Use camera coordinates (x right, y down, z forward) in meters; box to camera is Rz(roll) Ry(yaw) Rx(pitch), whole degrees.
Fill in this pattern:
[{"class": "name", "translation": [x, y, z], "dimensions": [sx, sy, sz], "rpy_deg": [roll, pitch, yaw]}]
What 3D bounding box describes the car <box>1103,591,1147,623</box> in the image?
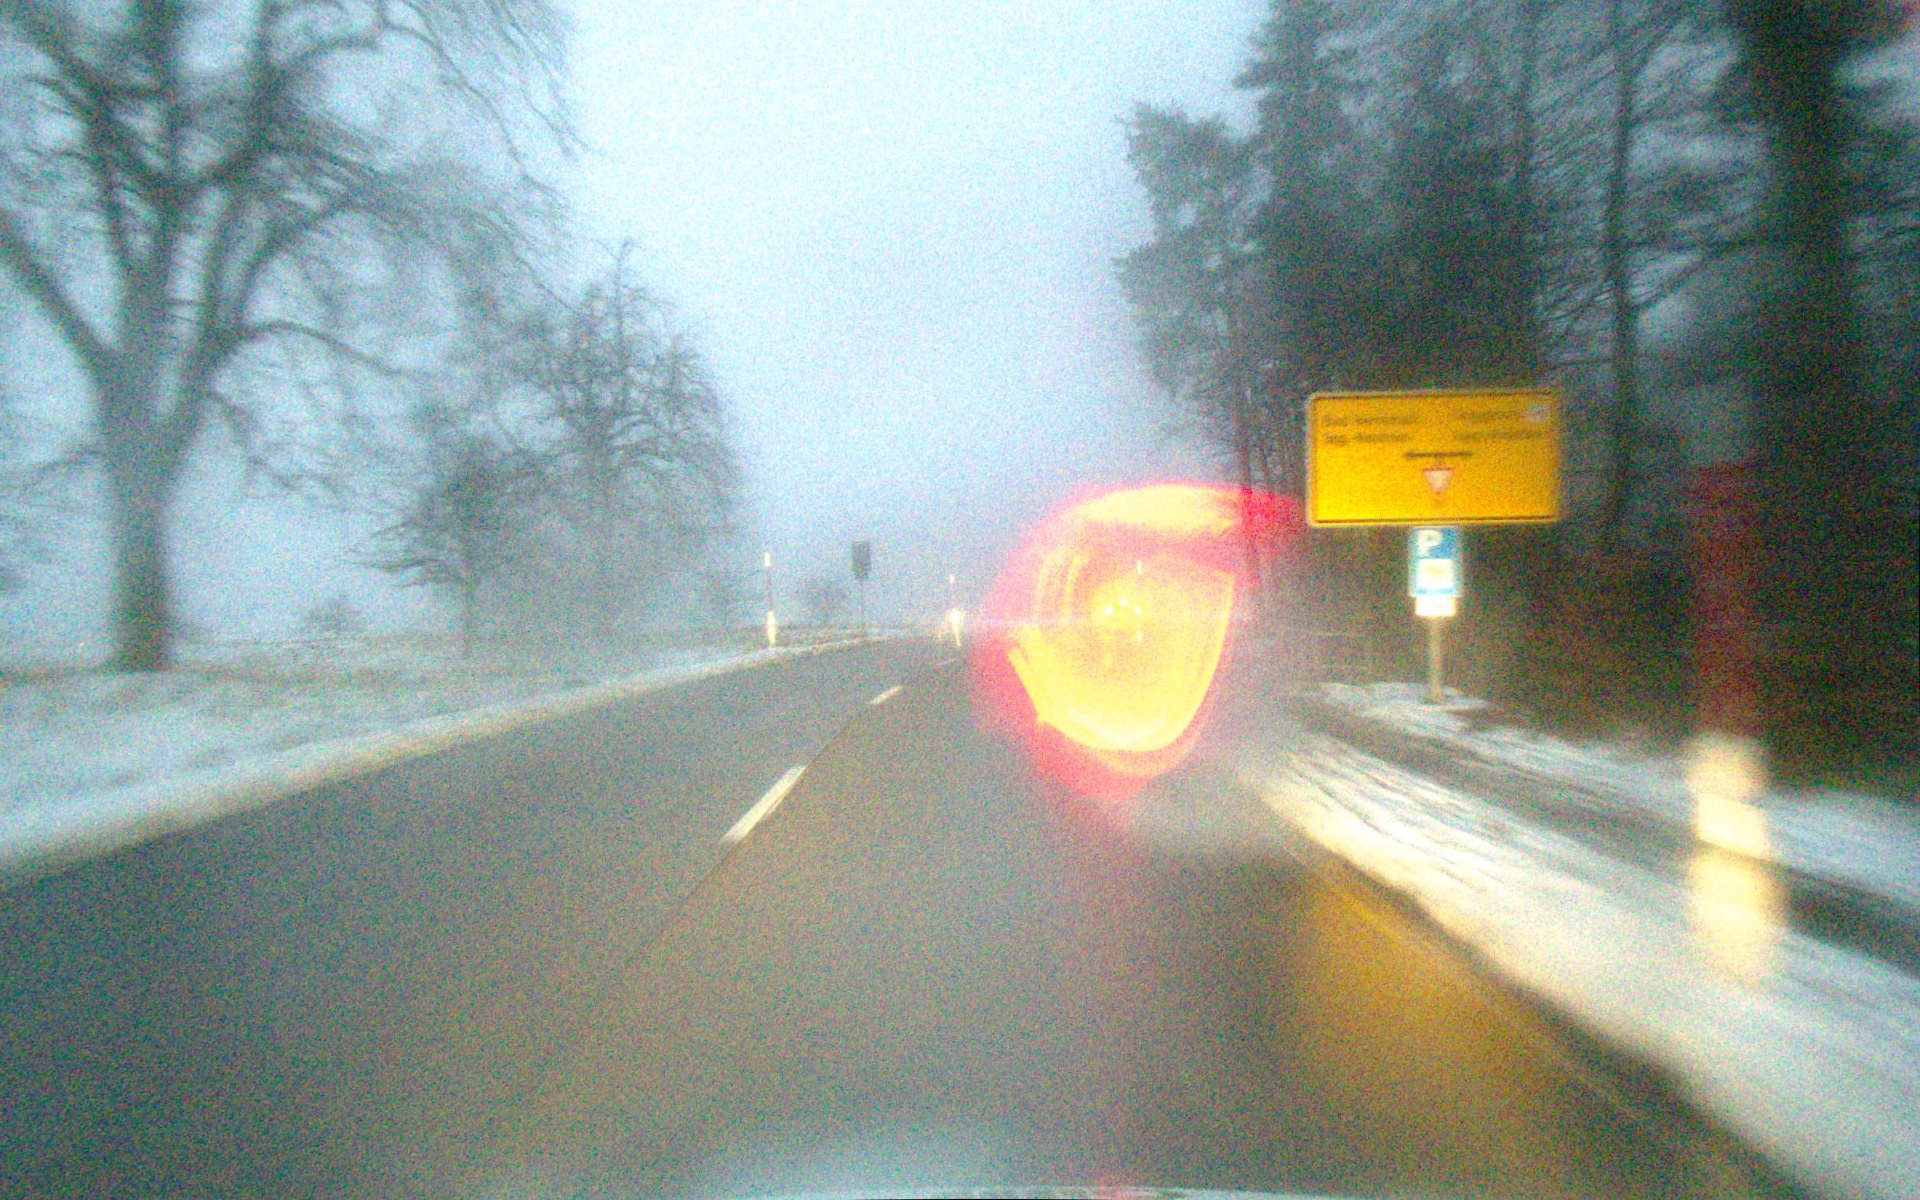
[{"class": "car", "translation": [7.433, 0.312, 74.207], "dimensions": [1.881, 1.299, 4.004], "rpy_deg": [-1, 1, 7]}]
